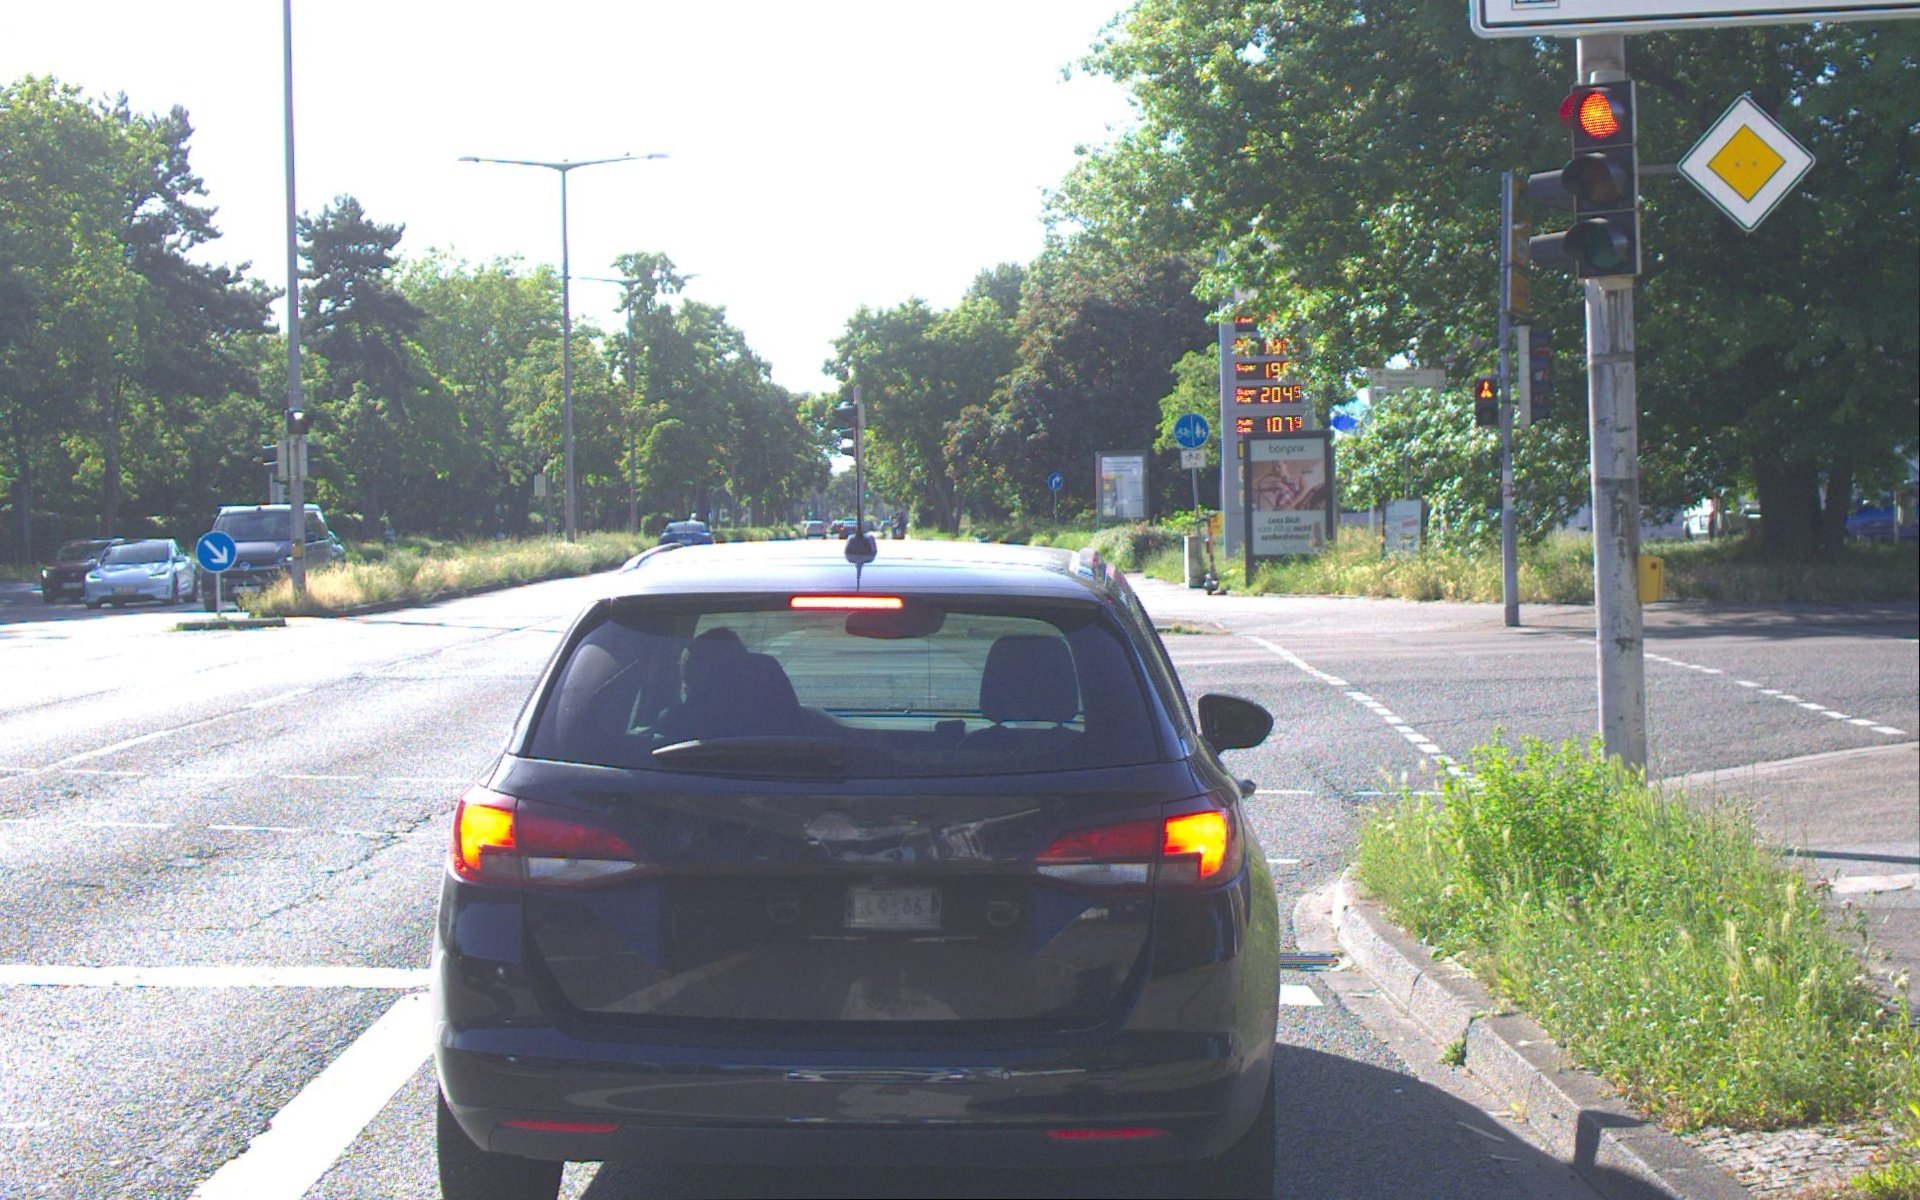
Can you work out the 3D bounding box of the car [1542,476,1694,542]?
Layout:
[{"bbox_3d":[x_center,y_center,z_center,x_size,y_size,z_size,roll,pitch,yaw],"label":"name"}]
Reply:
[{"bbox_3d":[17.865,-2.466,93.365,3.711,1.679,1.704,1,1,-3],"label":"car"}]

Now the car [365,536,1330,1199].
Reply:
[{"bbox_3d":[-0.233,0.611,8.179,1.755,1.504,3.809,0,1,-1],"label":"car"}]

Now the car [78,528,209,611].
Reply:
[{"bbox_3d":[-17.371,-0.663,73.310,1.864,1.678,4.000,1,1,-1],"label":"car"}]

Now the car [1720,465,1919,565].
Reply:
[{"bbox_3d":[15.467,-1.483,60.707,3.711,1.679,1.704,1,1,-27],"label":"car"}]

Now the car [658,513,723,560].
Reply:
[{"bbox_3d":[-9.100,-2.141,116.348,1.888,1.546,4.000,-1,1,-1],"label":"car"}]

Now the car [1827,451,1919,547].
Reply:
[{"bbox_3d":[16.729,-1.666,58.232,3.836,1.558,1.805,1,1,-32],"label":"car"}]

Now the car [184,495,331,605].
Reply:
[{"bbox_3d":[-13.347,-0.951,65.532,1.993,2.007,4.000,1,1,-1],"label":"car"}]

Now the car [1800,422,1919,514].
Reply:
[{"bbox_3d":[18.373,-2.527,66.627,3.711,1.679,1.704,1,1,-3],"label":"car"}]

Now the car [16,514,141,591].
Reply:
[{"bbox_3d":[-21.442,-1.182,83.794,1.993,1.744,4.001,-2,2,-1],"label":"car"}]
